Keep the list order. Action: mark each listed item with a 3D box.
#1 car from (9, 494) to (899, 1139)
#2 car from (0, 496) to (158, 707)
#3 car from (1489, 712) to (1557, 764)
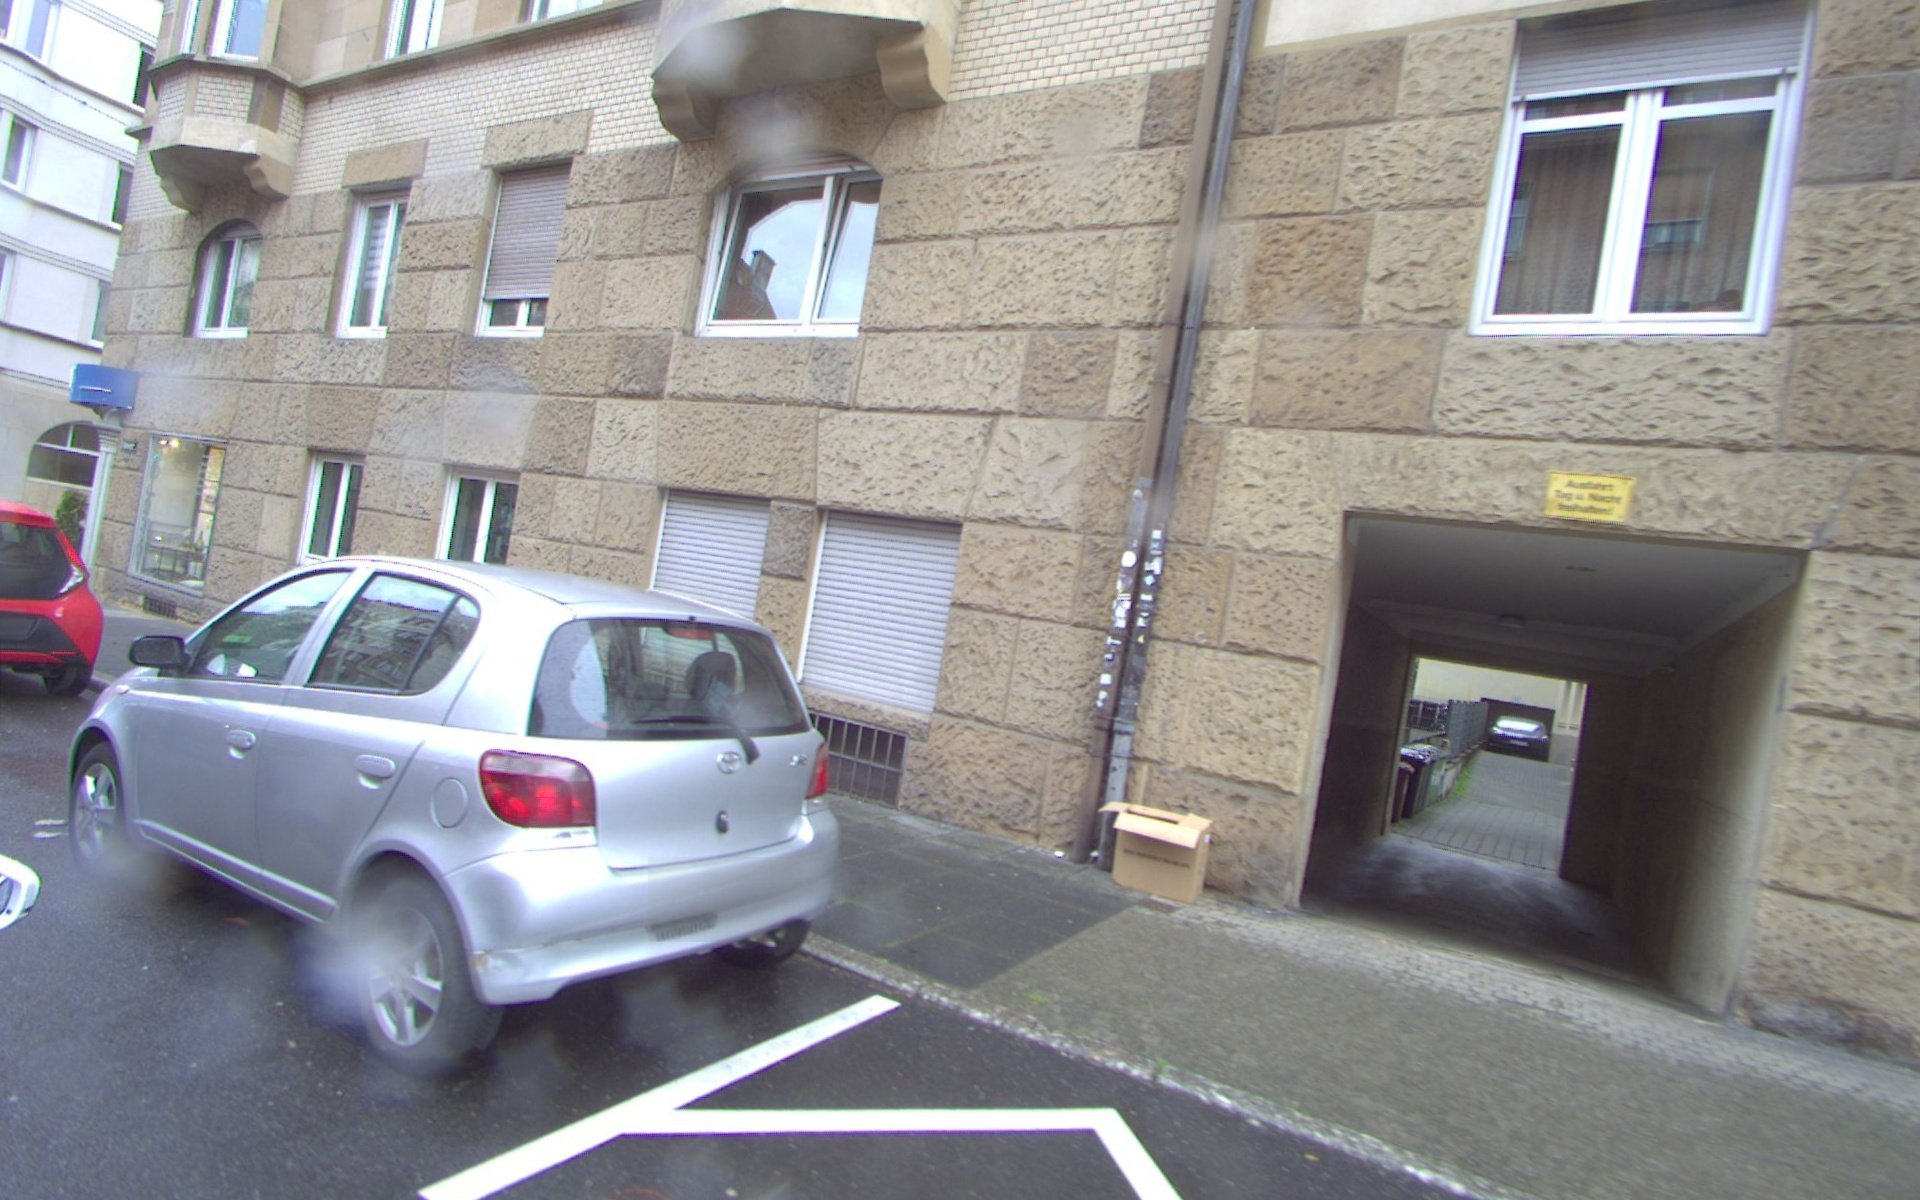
[{"bbox_3d":[-2.200,0.527,4.163,3.464,1.504,1.597,7,-1,32],"label":"car"},{"bbox_3d":[-8.309,-0.170,7.992,3.472,1.469,1.710,7,-3,29],"label":"car"},{"bbox_3d":[18.767,4.566,33.641,1.764,1.362,4.014,6,-2,28],"label":"car"}]
